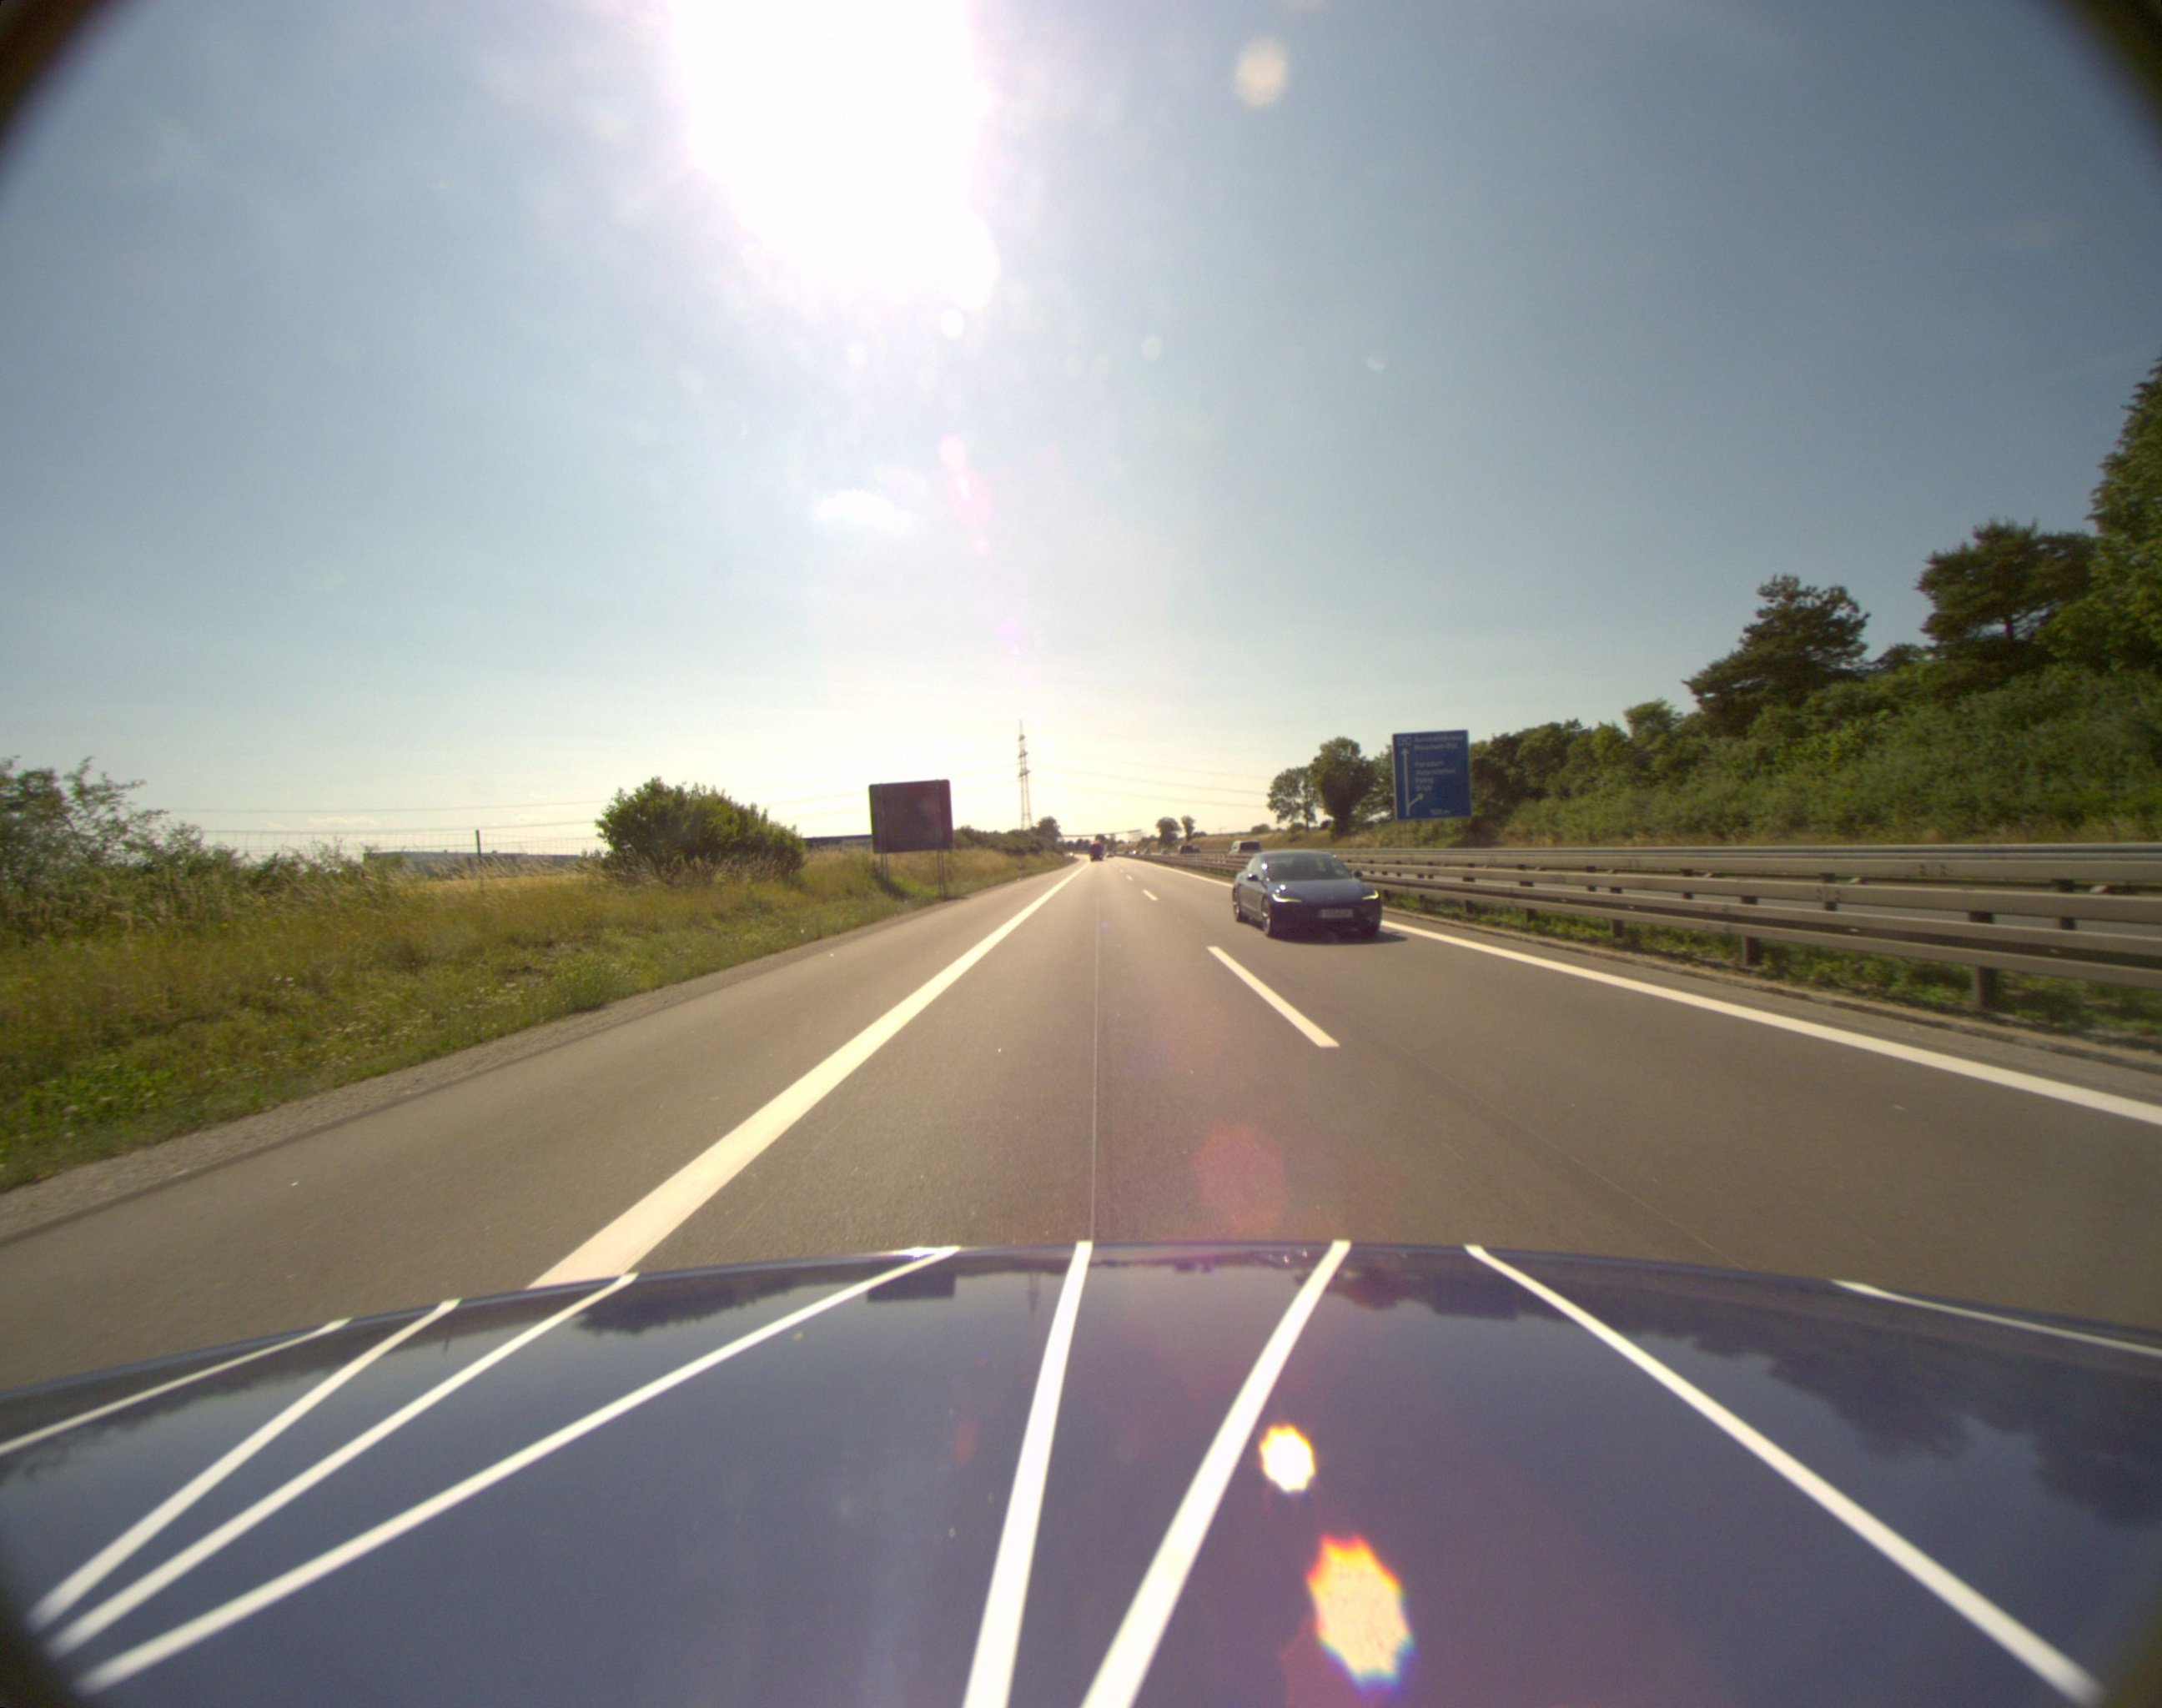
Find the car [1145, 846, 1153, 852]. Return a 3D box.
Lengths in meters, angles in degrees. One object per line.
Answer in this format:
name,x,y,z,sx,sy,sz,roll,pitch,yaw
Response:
car,20.125,-1.453,223.620,1.950,1.834,5.184,-4,0,2

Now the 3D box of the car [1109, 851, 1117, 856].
car,8.108,-0.148,192.982,1.860,1.361,4.000,-2,1,1

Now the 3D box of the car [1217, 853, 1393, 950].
car,3.998,0.737,14.744,1.851,1.424,5.866,-2,0,2

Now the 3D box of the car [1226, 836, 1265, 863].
car,13.342,-0.374,62.129,1.998,1.978,5.691,-3,0,1

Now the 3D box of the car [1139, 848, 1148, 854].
car,16.875,-0.869,205.639,1.950,1.560,4.587,-4,0,2

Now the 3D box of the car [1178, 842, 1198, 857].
car,14.568,-0.599,103.826,1.998,1.961,5.039,-3,0,2

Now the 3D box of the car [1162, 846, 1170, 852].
car,19.559,-1.084,174.421,1.526,1.344,4.232,-3,0,2

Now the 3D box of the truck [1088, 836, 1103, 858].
truck,2.793,-1.372,148.589,2.570,3.939,8.643,-5,1,1

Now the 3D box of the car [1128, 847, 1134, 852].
car,16.744,-1.447,254.159,1.620,1.522,4.000,-4,0,2

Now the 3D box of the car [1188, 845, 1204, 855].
car,18.645,-0.632,123.797,1.998,1.602,4.487,-3,0,2
